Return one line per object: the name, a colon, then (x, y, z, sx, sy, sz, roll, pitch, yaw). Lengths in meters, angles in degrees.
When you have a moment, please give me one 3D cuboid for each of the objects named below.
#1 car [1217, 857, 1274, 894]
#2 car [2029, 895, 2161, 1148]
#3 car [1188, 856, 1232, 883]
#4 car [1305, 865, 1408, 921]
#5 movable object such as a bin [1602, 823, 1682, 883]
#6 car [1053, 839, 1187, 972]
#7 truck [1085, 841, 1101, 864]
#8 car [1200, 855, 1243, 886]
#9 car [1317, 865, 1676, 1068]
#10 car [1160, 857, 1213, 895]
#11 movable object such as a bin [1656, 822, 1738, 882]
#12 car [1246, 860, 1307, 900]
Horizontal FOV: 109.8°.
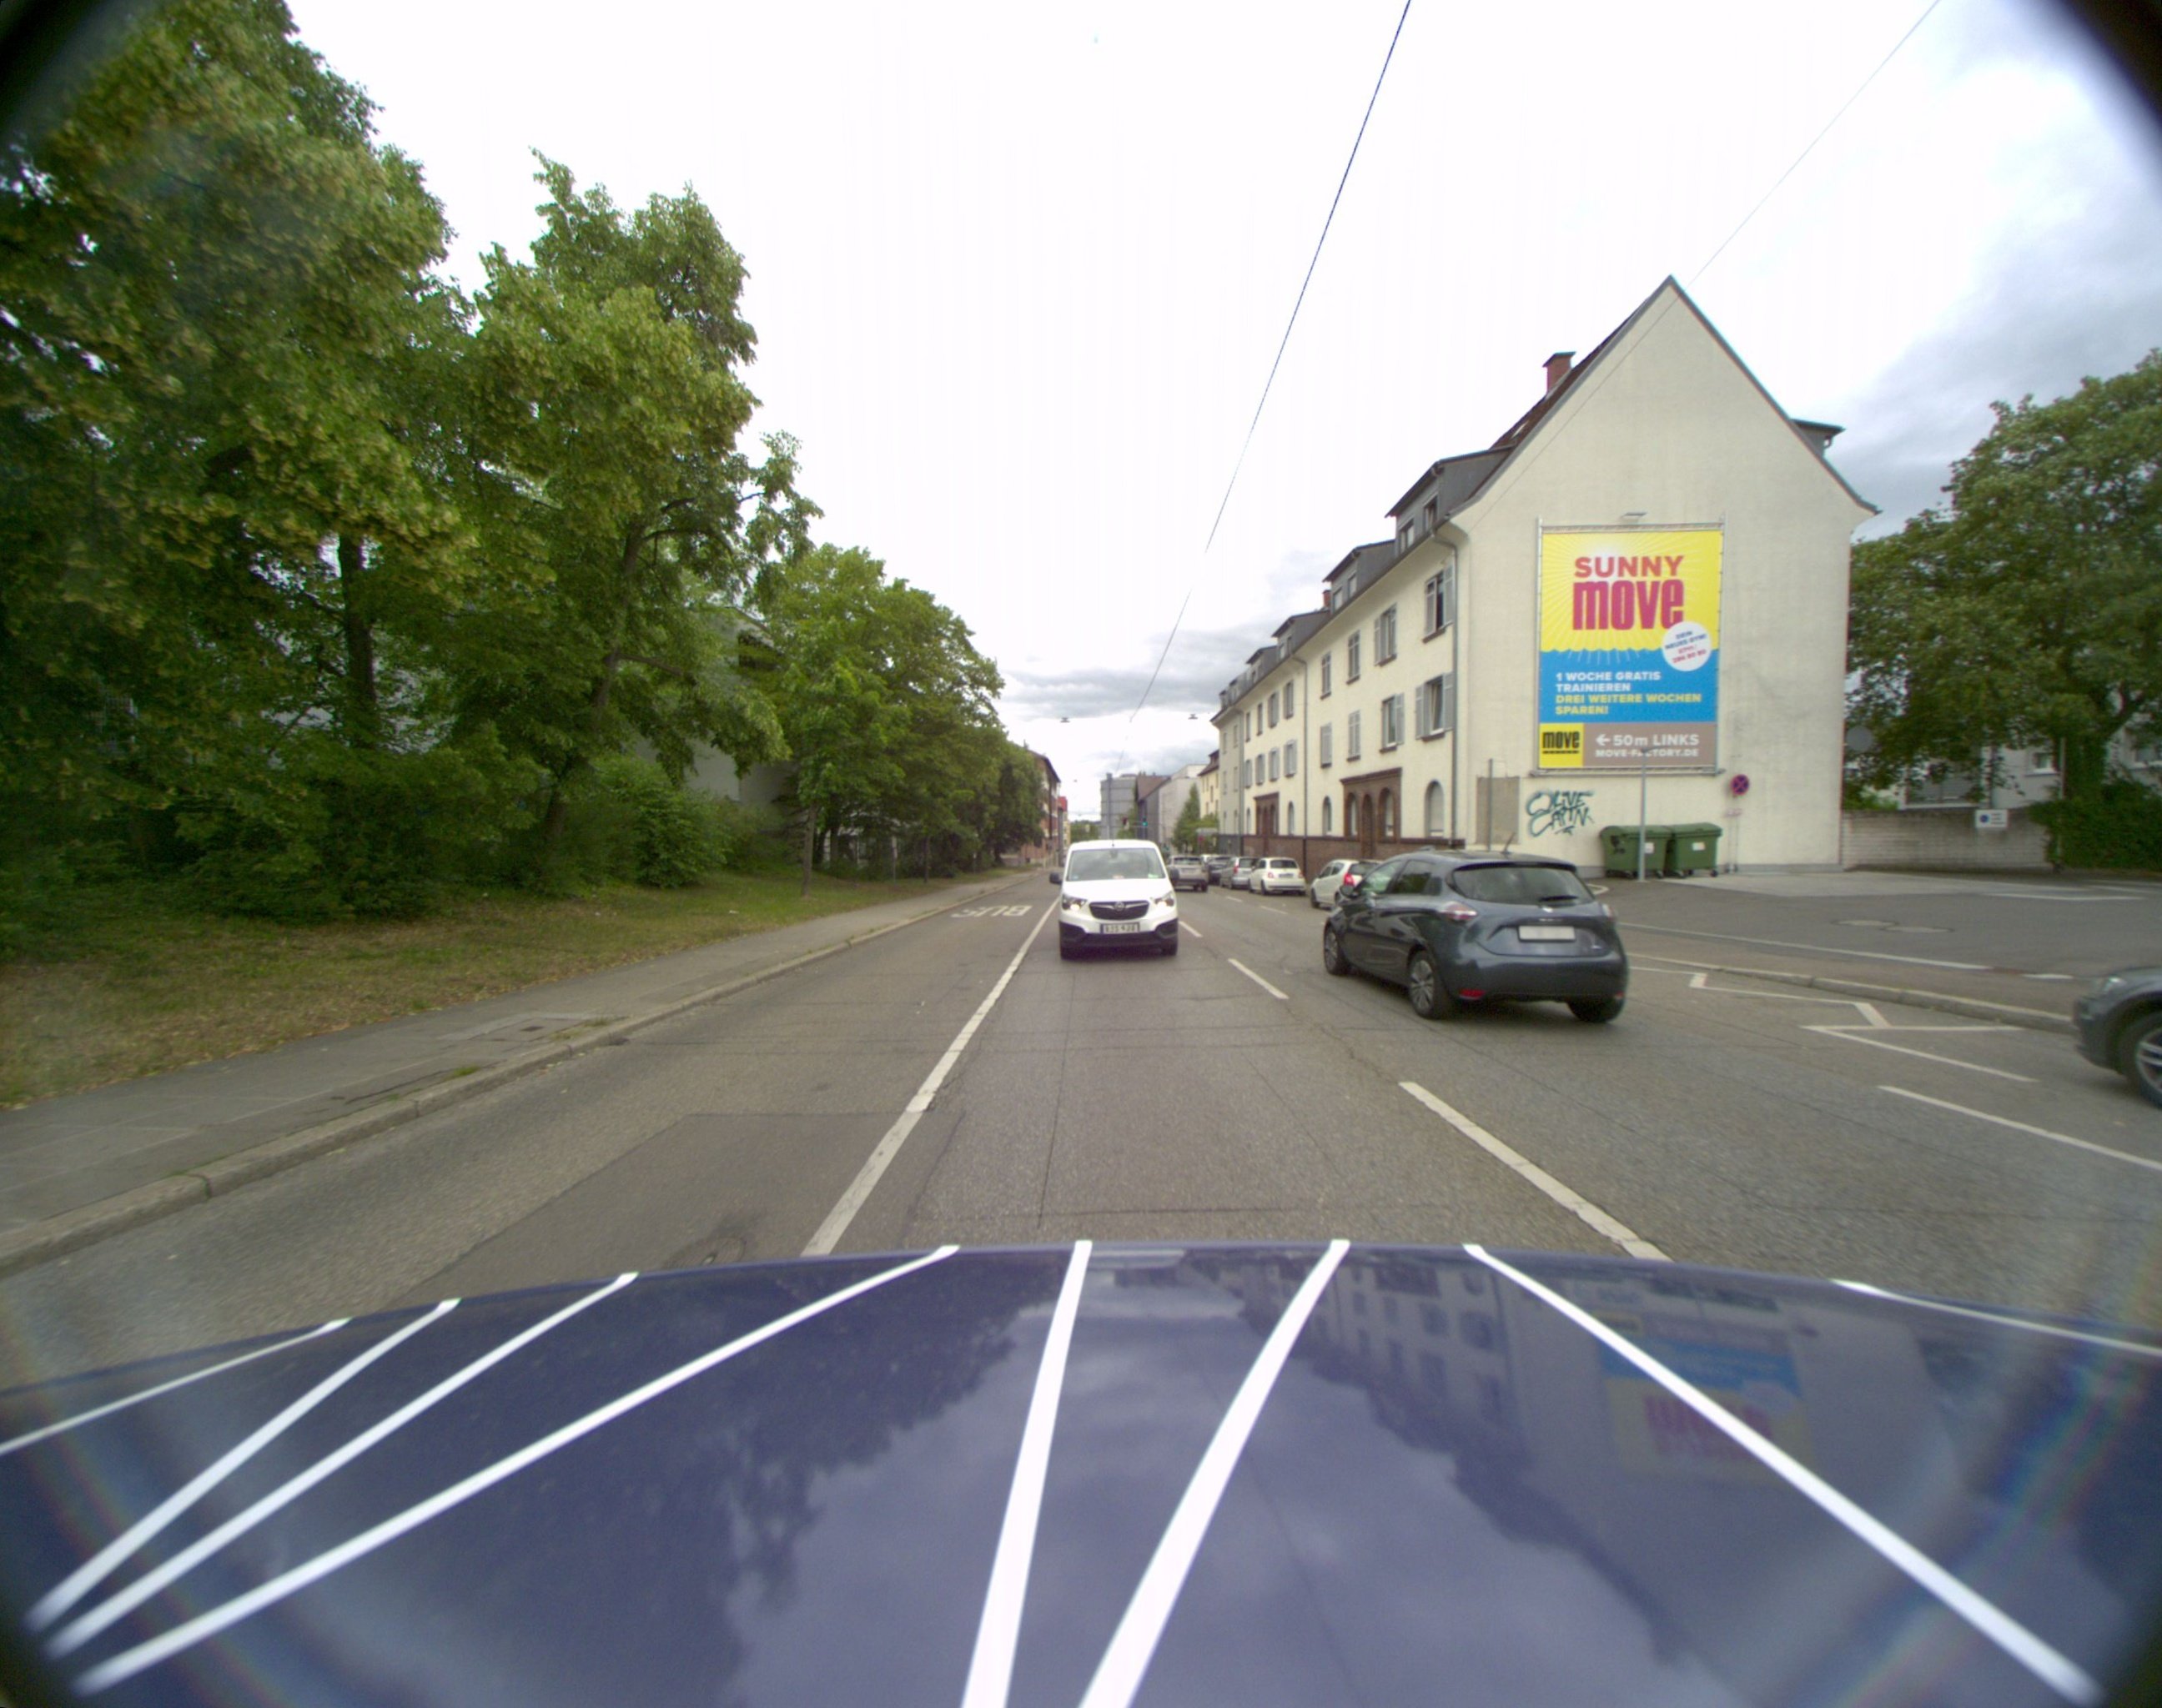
car: (7.661, 0.971, 35.719, 1.731, 1.549, 4.081, 2, 0, 0)
car: (7.181, 1.003, 2.930, 1.795, 1.441, 4.218, 0, 0, 1)
car: (7.776, 0.900, 46.164, 1.850, 1.612, 4.643, 0, 0, 0)
car: (7.614, 1.024, 21.306, 1.623, 1.417, 3.665, 0, 0, 1)
movable object such as a bin: (14.853, -0.020, 20.162, 1.268, 1.529, 1.104, 1, 0, 1)
car: (0.593, 0.771, 12.819, 1.850, 1.831, 4.285, -1, -1, 1)
truck: (1.916, -0.189, 123.310, 2.545, 3.478, 8.521, 0, 0, 1)
car: (7.482, 0.850, 40.791, 1.731, 1.590, 4.502, 0, 0, 3)
car: (3.890, 0.929, 7.916, 1.687, 1.546, 3.718, 0, 0, 0)
car: (4.561, 0.925, 33.331, 1.802, 1.516, 4.000, 0, 0, 1)
movable object such as a bin: (16.271, -0.048, 20.106, 1.268, 1.529, 1.104, 1, 0, 1)
car: (7.783, 0.985, 30.500, 1.551, 1.466, 3.604, 0, 0, 0)
